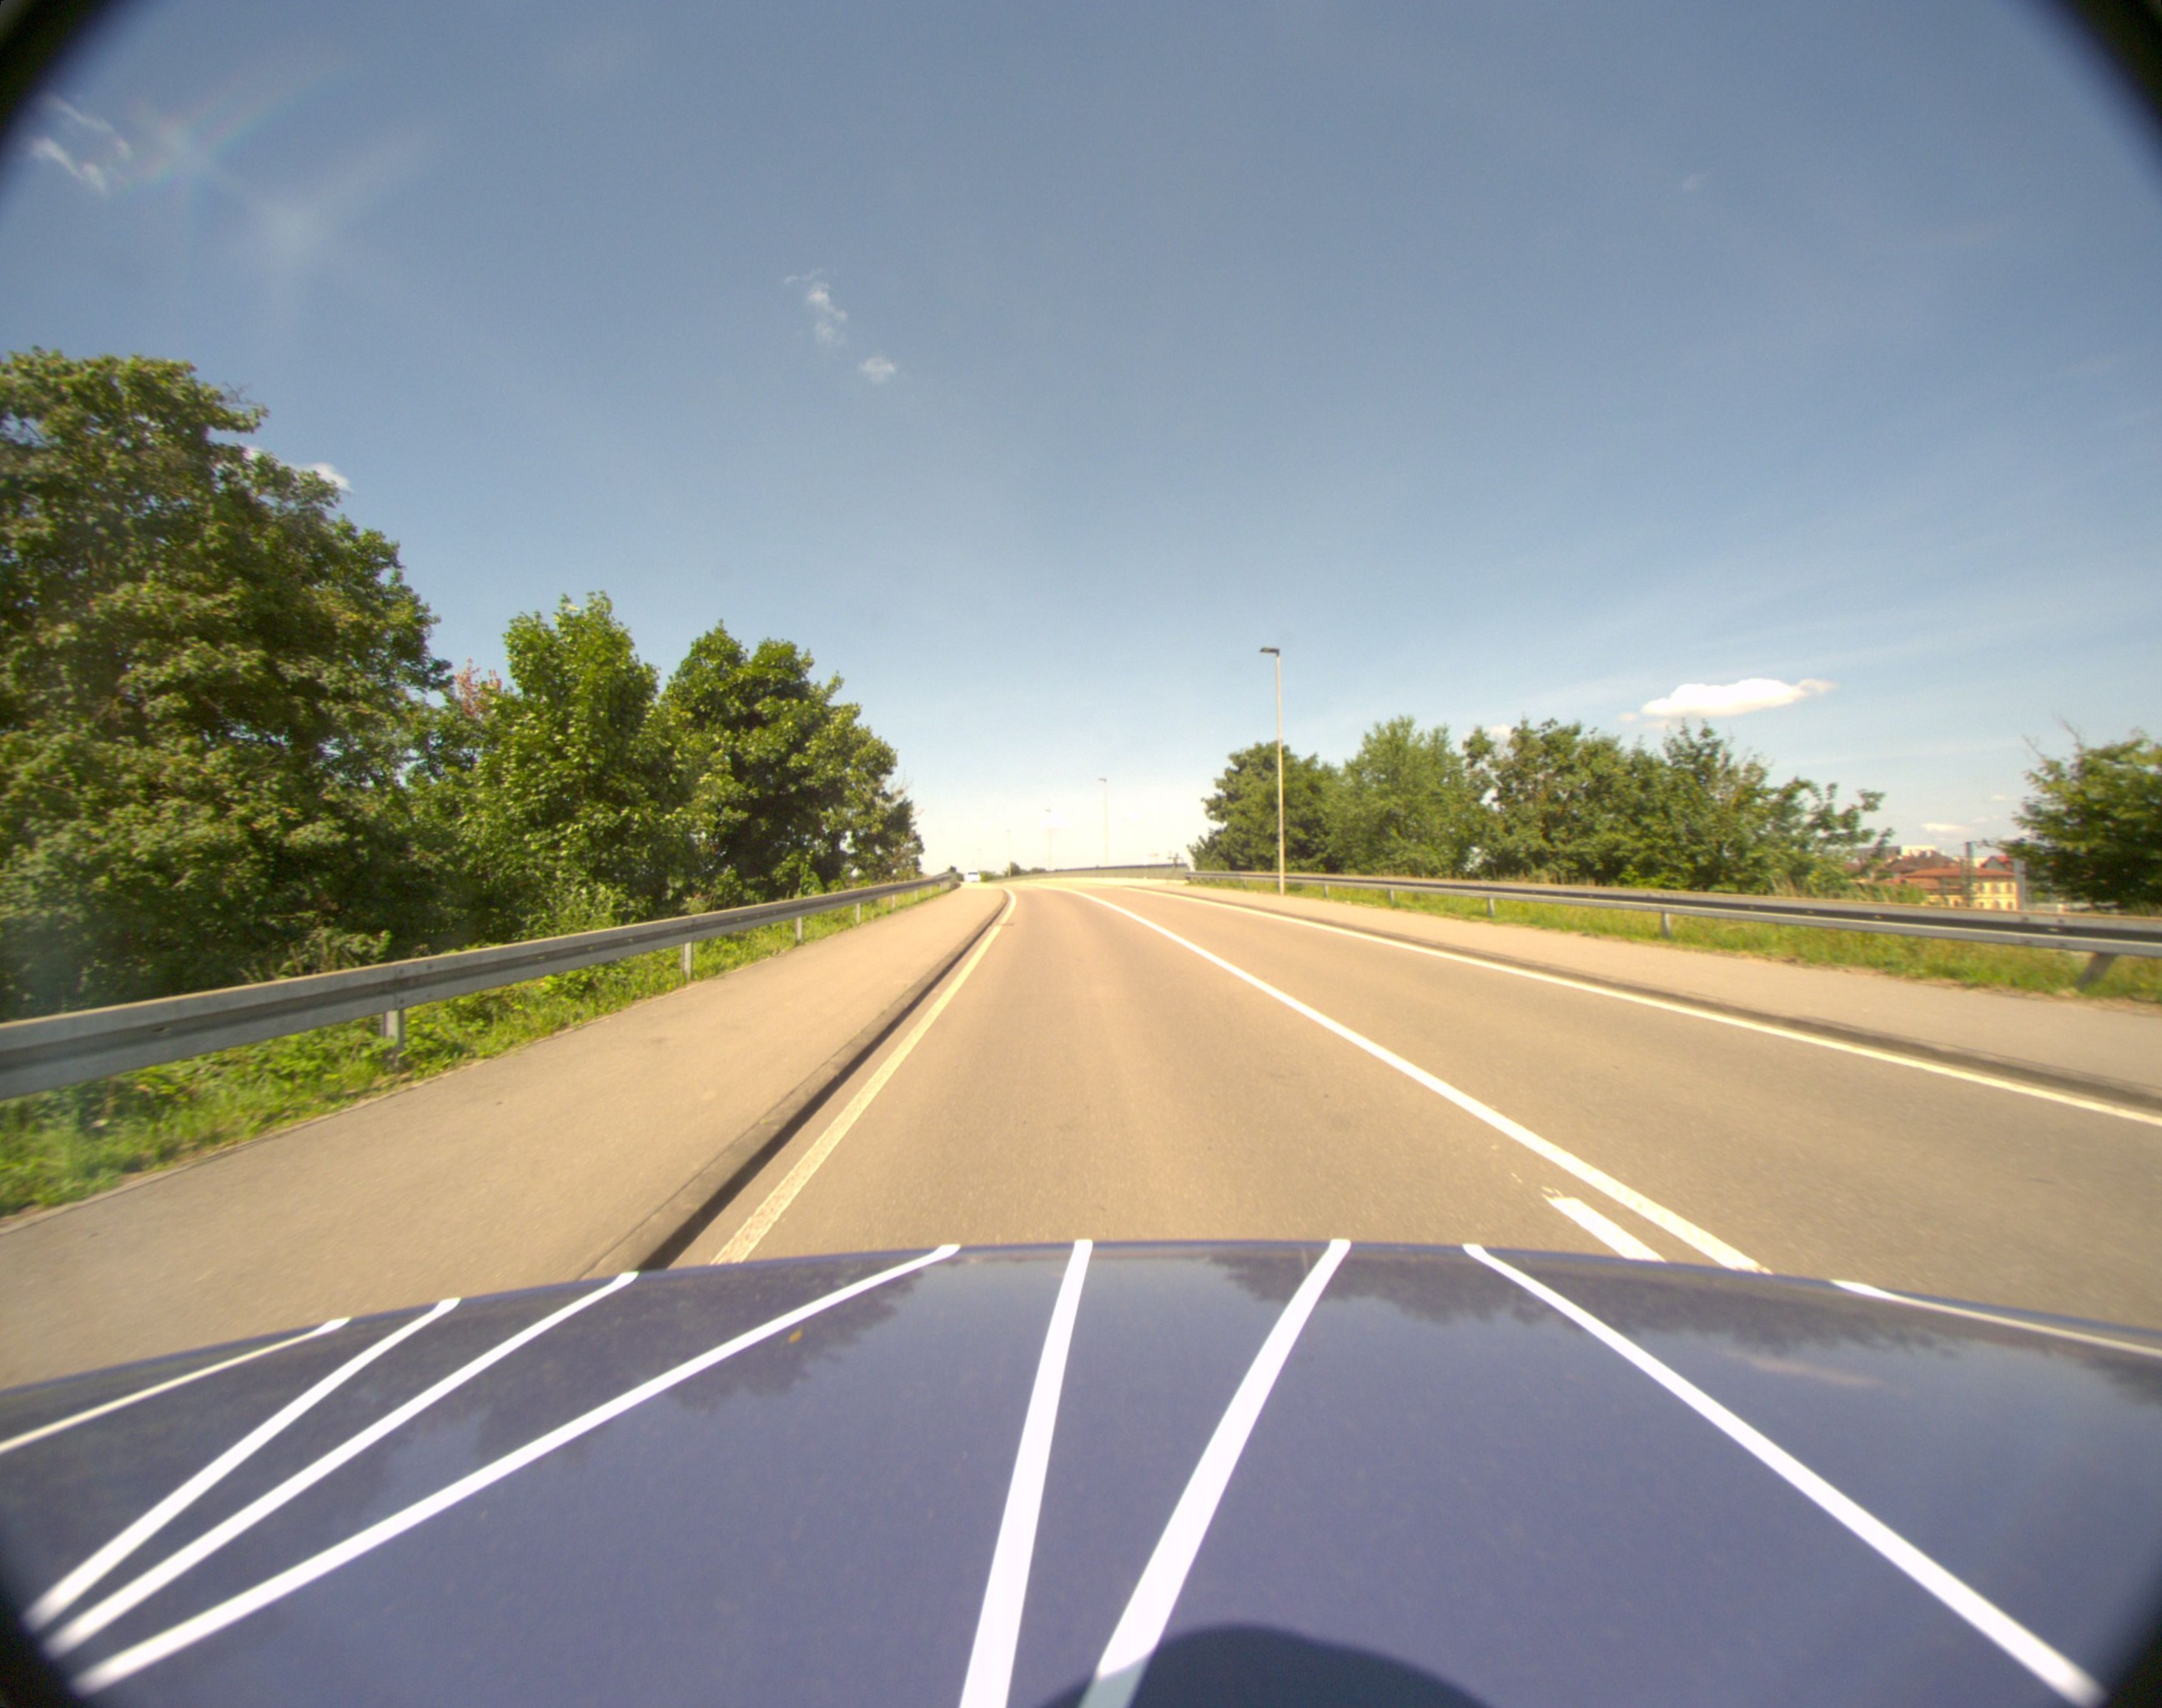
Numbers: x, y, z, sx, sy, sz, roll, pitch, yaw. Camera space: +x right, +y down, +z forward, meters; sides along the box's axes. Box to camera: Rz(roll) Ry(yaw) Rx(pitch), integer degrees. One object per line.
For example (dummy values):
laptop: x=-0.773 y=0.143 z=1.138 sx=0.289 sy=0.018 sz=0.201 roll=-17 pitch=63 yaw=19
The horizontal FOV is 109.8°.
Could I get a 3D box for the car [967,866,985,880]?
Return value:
car: x=-13.979 y=2.584 z=101.035 sx=2.095 sy=1.750 sz=4.279 roll=-2 pitch=-1 yaw=-12
